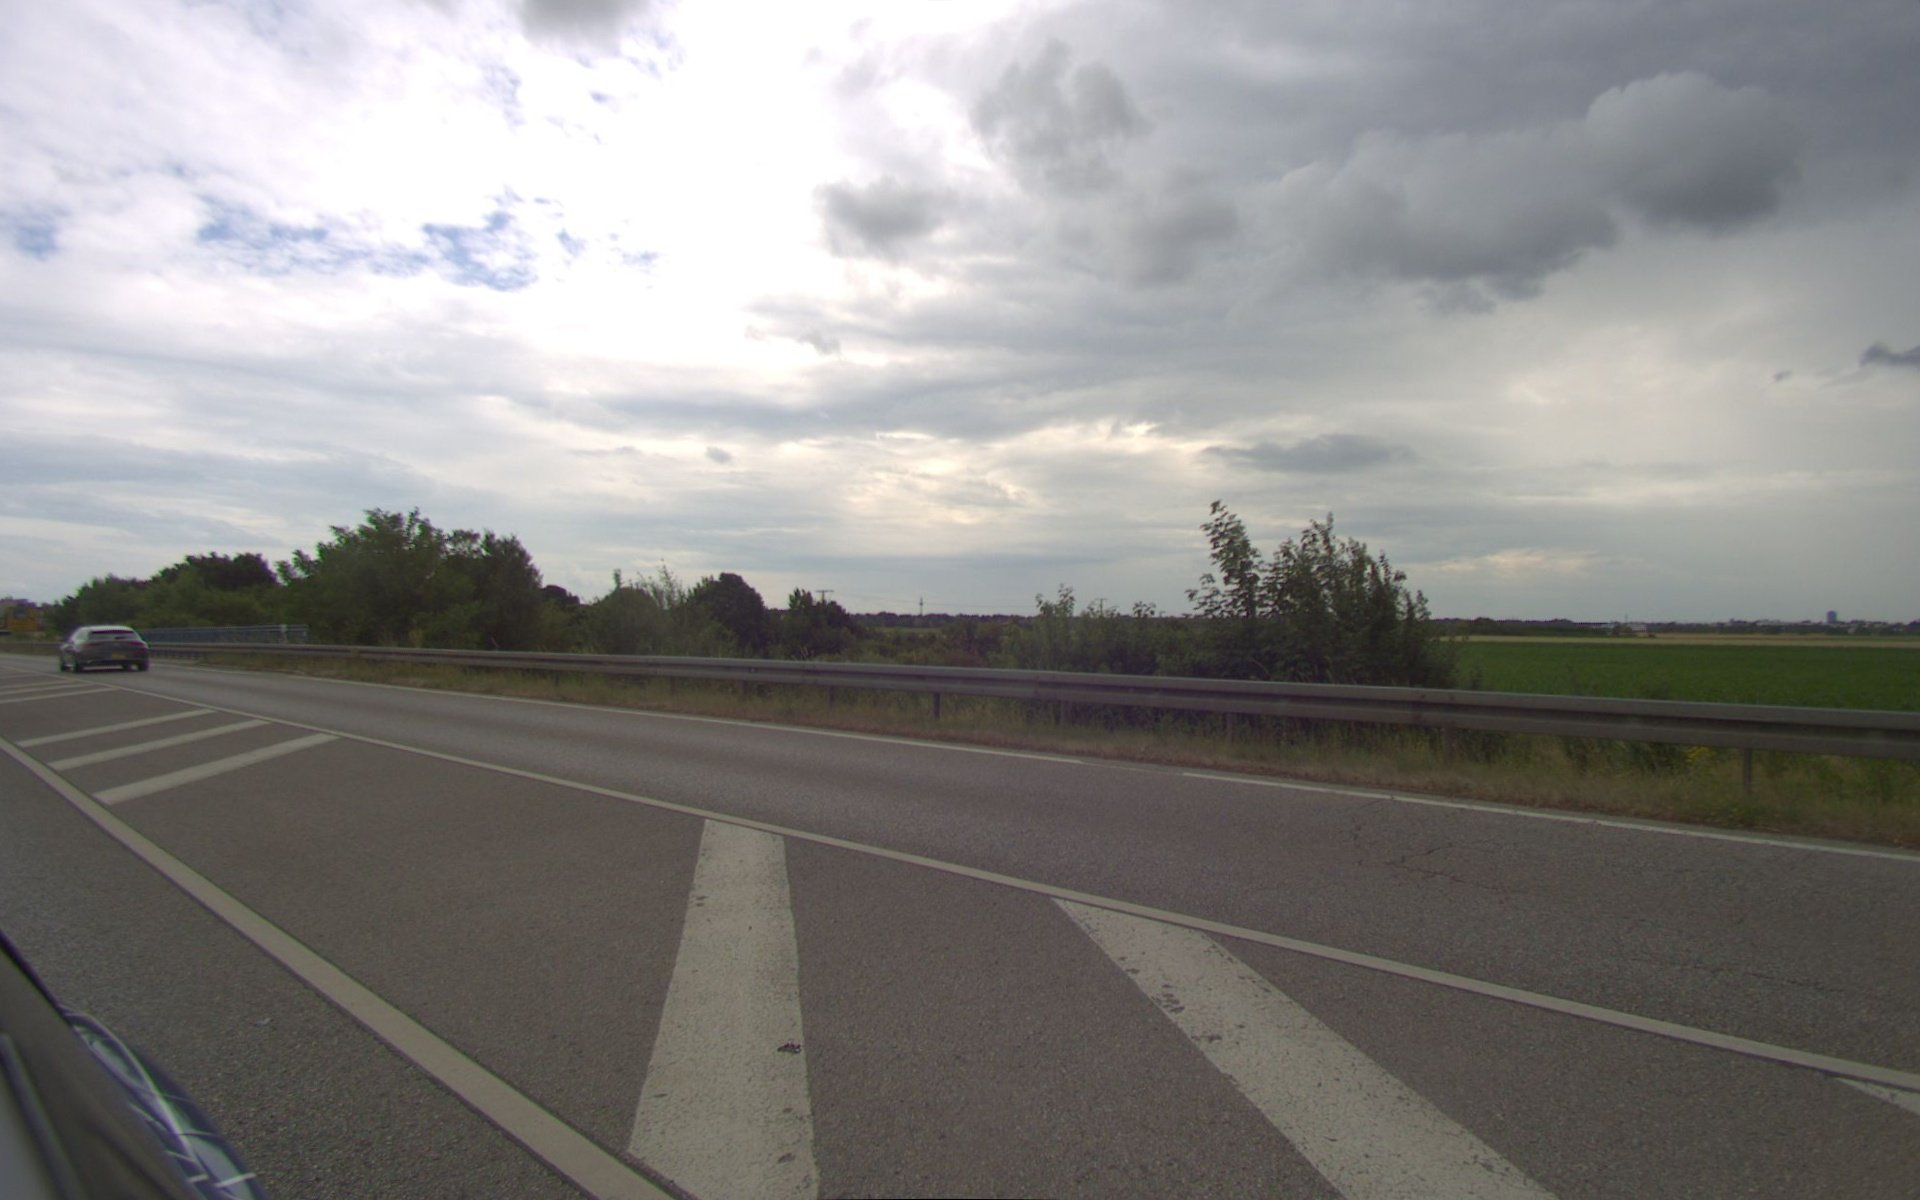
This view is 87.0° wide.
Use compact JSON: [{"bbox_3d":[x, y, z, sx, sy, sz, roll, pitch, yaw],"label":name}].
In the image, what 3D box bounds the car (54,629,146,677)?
[{"bbox_3d":[-27.273,1.630,32.047,4.510,1.390,1.605,-1,-1,42],"label":"car"}]
